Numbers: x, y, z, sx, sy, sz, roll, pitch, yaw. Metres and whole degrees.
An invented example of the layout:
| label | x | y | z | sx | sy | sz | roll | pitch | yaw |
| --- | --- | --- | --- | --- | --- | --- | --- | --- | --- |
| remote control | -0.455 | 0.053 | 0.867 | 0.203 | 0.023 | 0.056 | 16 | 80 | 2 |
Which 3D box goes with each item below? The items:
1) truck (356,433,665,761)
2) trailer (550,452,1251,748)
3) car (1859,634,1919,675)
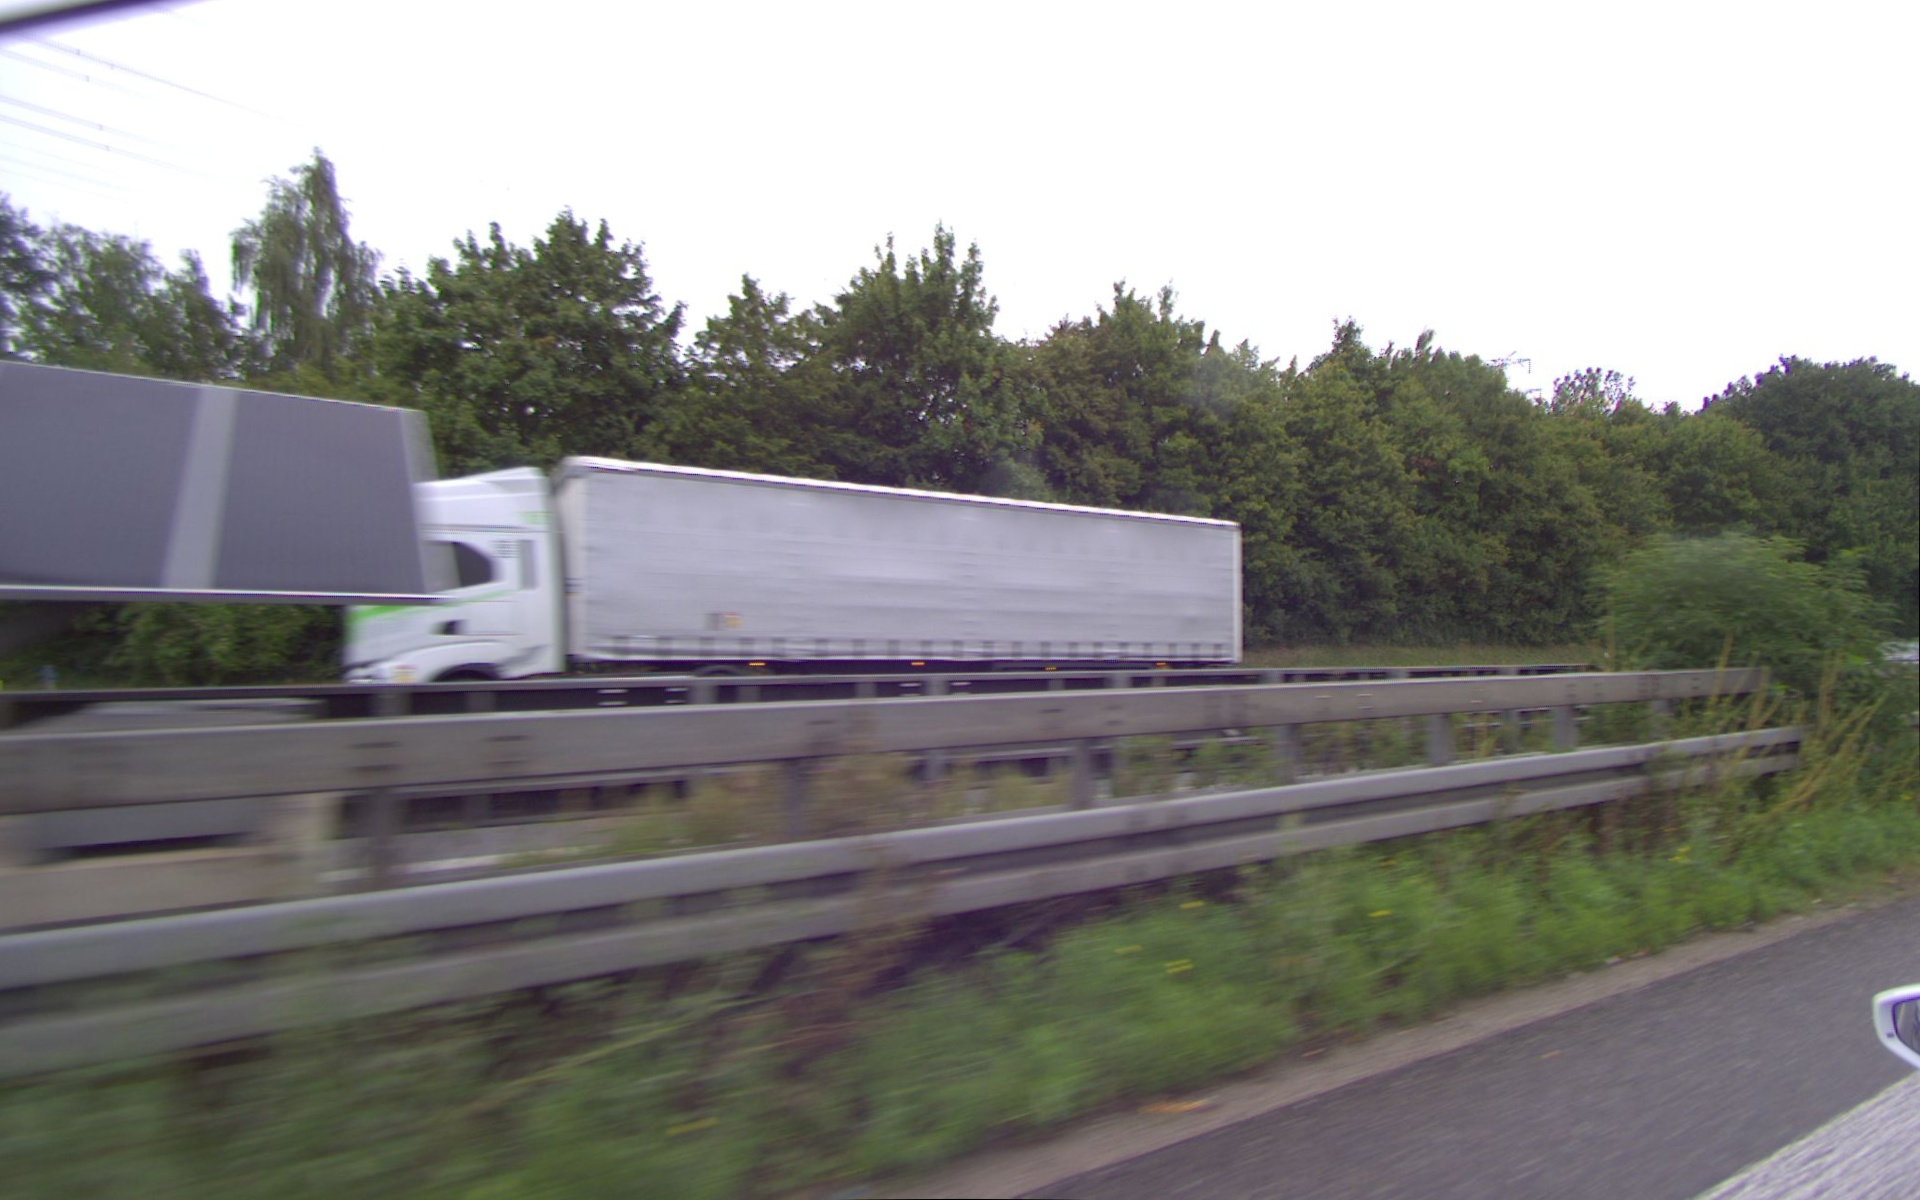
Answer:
| label | x | y | z | sx | sy | sz | roll | pitch | yaw |
| --- | --- | --- | --- | --- | --- | --- | --- | --- | --- |
| truck | -6.825 | 0.010 | 15.314 | 3.953 | 4.293 | 2.631 | 1 | -1 | -30 |
| trailer | -0.296 | 0.132 | 19.213 | 13.749 | 4.293 | 2.631 | 1 | -1 | -31 |
| car | 35.425 | 2.002 | 37.511 | 3.954 | 1.416 | 1.670 | 1 | -2 | -31 |
